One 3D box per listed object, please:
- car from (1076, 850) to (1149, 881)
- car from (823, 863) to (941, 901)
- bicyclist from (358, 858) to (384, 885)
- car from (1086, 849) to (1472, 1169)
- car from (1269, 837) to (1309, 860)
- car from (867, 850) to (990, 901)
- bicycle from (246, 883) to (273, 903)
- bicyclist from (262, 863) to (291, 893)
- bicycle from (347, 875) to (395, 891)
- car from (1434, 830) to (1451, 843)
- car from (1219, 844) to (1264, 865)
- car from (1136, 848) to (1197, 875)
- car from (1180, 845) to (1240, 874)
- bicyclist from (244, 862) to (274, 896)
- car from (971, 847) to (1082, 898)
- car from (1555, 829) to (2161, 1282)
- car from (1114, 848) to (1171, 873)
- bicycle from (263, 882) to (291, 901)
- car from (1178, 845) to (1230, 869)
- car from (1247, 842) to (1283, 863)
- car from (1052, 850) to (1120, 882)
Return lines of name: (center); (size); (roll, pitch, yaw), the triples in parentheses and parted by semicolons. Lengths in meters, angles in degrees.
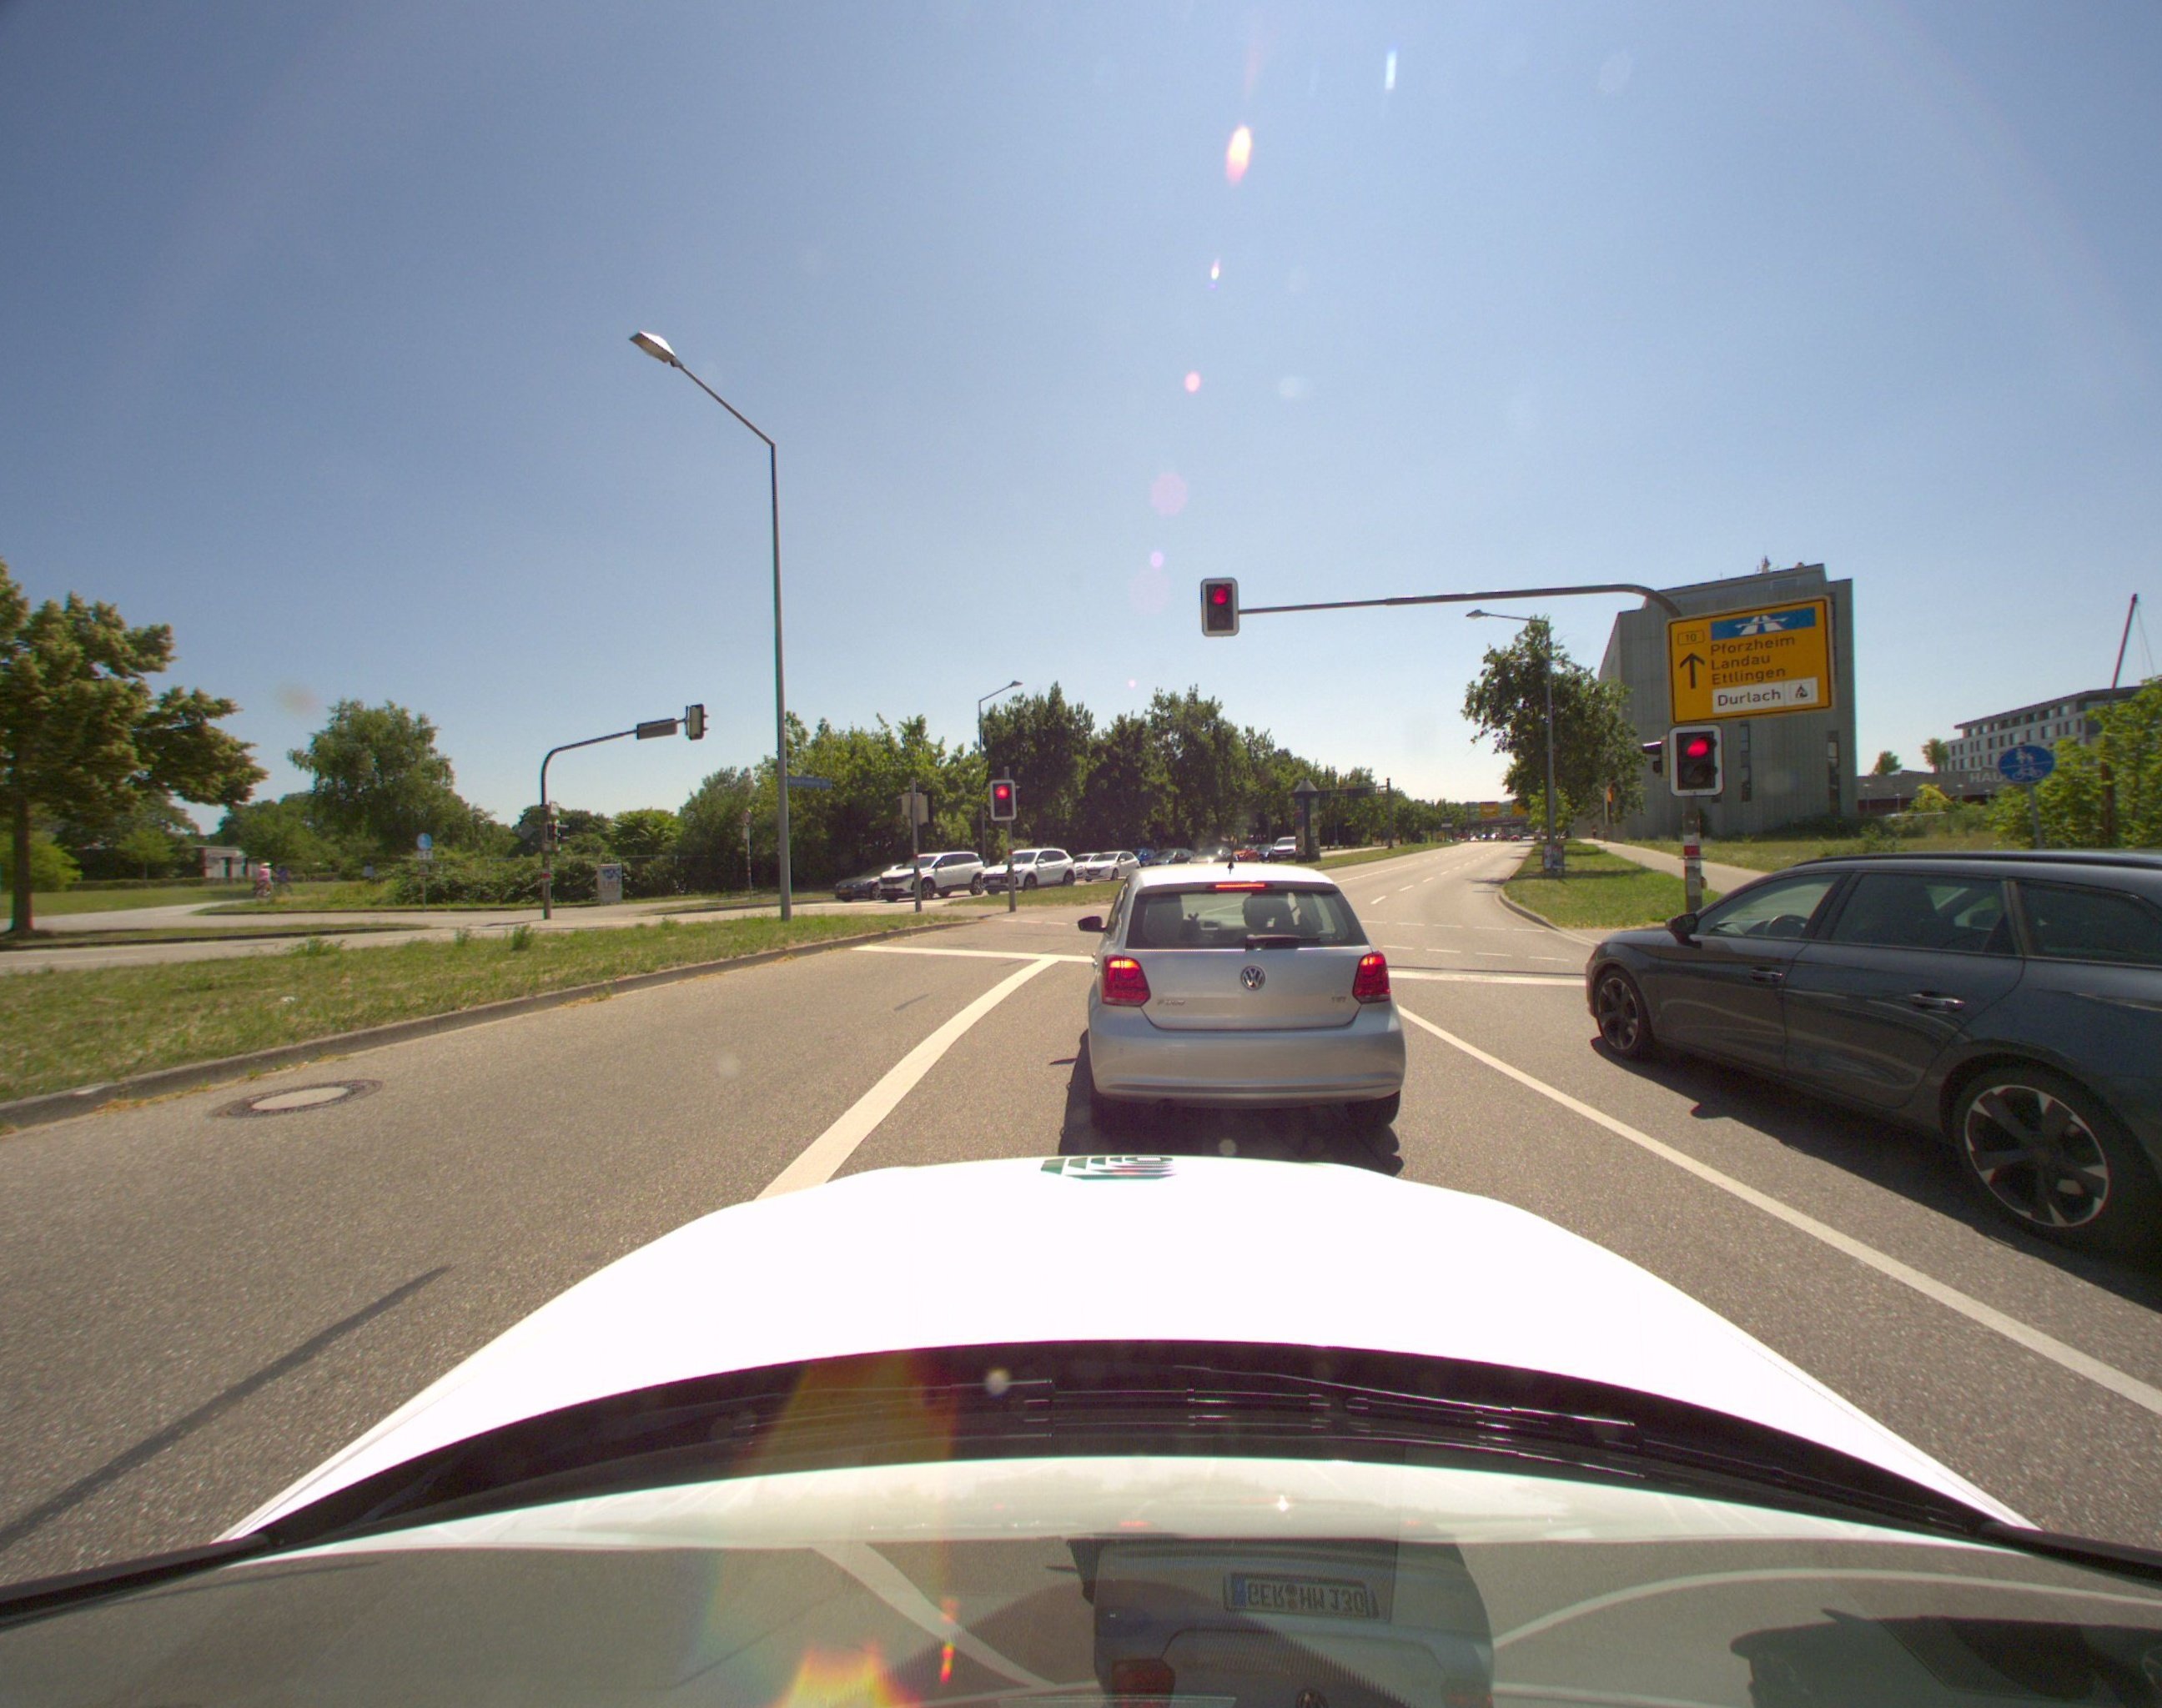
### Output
car: (1.714, 0.565, 42.113); (1.840, 1.422, 4.436); (-2, 0, 31)
car: (-7.689, 1.061, 31.896); (1.840, 1.270, 4.436); (-2, 0, 31)
bicyclist: (-43.216, 1.051, 49.588); (0.754, 1.614, 0.974); (-2, -1, -11)
car: (0.945, 0.712, 5.808); (1.770, 1.422, 4.000); (-2, 1, 0)
car: (15.069, -0.426, 58.871); (1.845, 1.554, 4.025); (-1, 0, 29)
car: (-5.373, 0.708, 29.299); (1.840, 1.618, 4.436); (-2, 0, 31)
bicycle: (-39.799, 1.898, 39.440); (2.198, 0.900, 0.904); (-3, -2, 44)
bicyclist: (-42.416, 1.251, 42.926); (0.965, 1.531, 1.172); (-2, 1, -41)
bicycle: (-43.178, 1.741, 49.598); (0.738, 0.912, 2.920); (-3, -1, -9)
car: (52.083, -2.505, 117.270); (1.783, 1.692, 4.168); (-3, -1, 31)
car: (11.894, -0.005, 60.111); (1.840, 1.422, 4.436); (-2, 0, 31)
car: (5.099, 0.402, 47.811); (1.840, 1.422, 4.436); (-2, 0, 31)
car: (7.286, 0.259, 45.580); (1.951, 1.488, 4.025); (-1, 0, 30)
bicyclist: (-39.803, 1.222, 39.425); (1.171, 1.610, 0.966); (-3, -1, 44)
car: (-1.919, 0.623, 30.094); (1.840, 1.683, 4.436); (-2, 0, 31)
car: (4.564, 0.613, 4.138); (1.984, 1.418, 4.461); (-2, 1, 5)
car: (3.963, 0.384, 51.851); (1.840, 1.422, 4.436); (-2, 0, 31)
bicycle: (-42.315, 1.968, 42.887); (0.903, 0.900, 1.742); (0, 0, -40)
car: (8.178, 0.164, 54.036); (1.840, 1.422, 4.436); (-2, 0, 31)
car: (14.527, -0.140, 64.224); (1.699, 1.475, 3.821); (-3, -1, 29)
car: (0.339, 0.655, 46.351); (1.840, 1.683, 4.436); (-2, 0, 31)
